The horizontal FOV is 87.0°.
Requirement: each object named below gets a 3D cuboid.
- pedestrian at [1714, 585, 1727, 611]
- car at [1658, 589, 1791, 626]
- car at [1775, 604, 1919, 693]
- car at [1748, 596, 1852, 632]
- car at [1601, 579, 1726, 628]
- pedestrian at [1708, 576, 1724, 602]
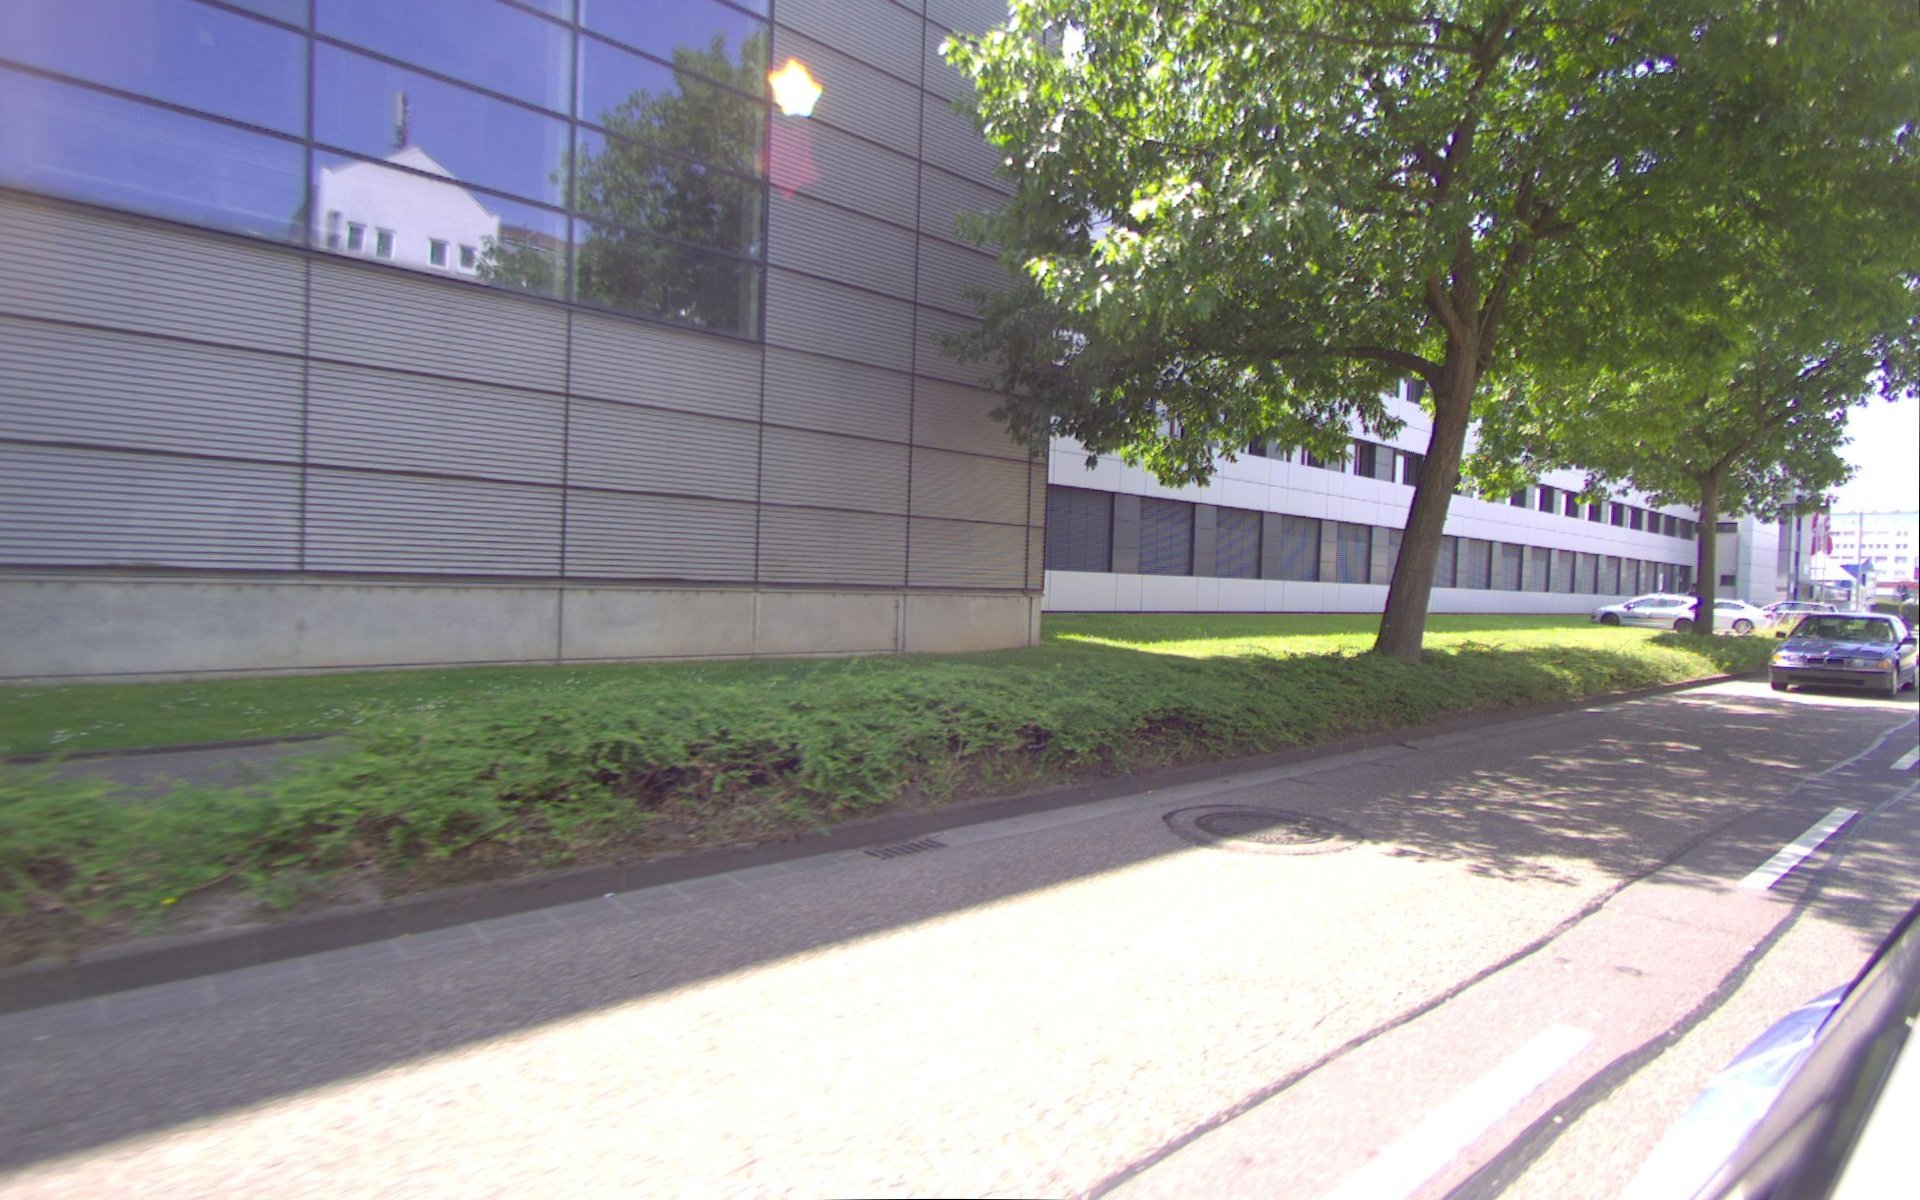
[{"bbox_3d":[50.775,-0.125,67.547,0.519,1.683,0.748,3,2,31],"label":"pedestrian"},{"bbox_3d":[34.986,0.304,46.391,4.616,1.407,1.968,4,3,45],"label":"car"},{"bbox_3d":[15.728,0.793,17.611,3.688,1.356,1.632,1,0,-38],"label":"car"},{"bbox_3d":[47.000,0.737,56.667,1.967,1.709,4.263,0,3,-44],"label":"car"},{"bbox_3d":[28.433,0.100,40.979,1.704,1.611,3.817,1,5,-44],"label":"car"},{"bbox_3d":[49.792,-0.741,66.647,0.513,1.654,0.595,2,2,-32],"label":"pedestrian"}]
